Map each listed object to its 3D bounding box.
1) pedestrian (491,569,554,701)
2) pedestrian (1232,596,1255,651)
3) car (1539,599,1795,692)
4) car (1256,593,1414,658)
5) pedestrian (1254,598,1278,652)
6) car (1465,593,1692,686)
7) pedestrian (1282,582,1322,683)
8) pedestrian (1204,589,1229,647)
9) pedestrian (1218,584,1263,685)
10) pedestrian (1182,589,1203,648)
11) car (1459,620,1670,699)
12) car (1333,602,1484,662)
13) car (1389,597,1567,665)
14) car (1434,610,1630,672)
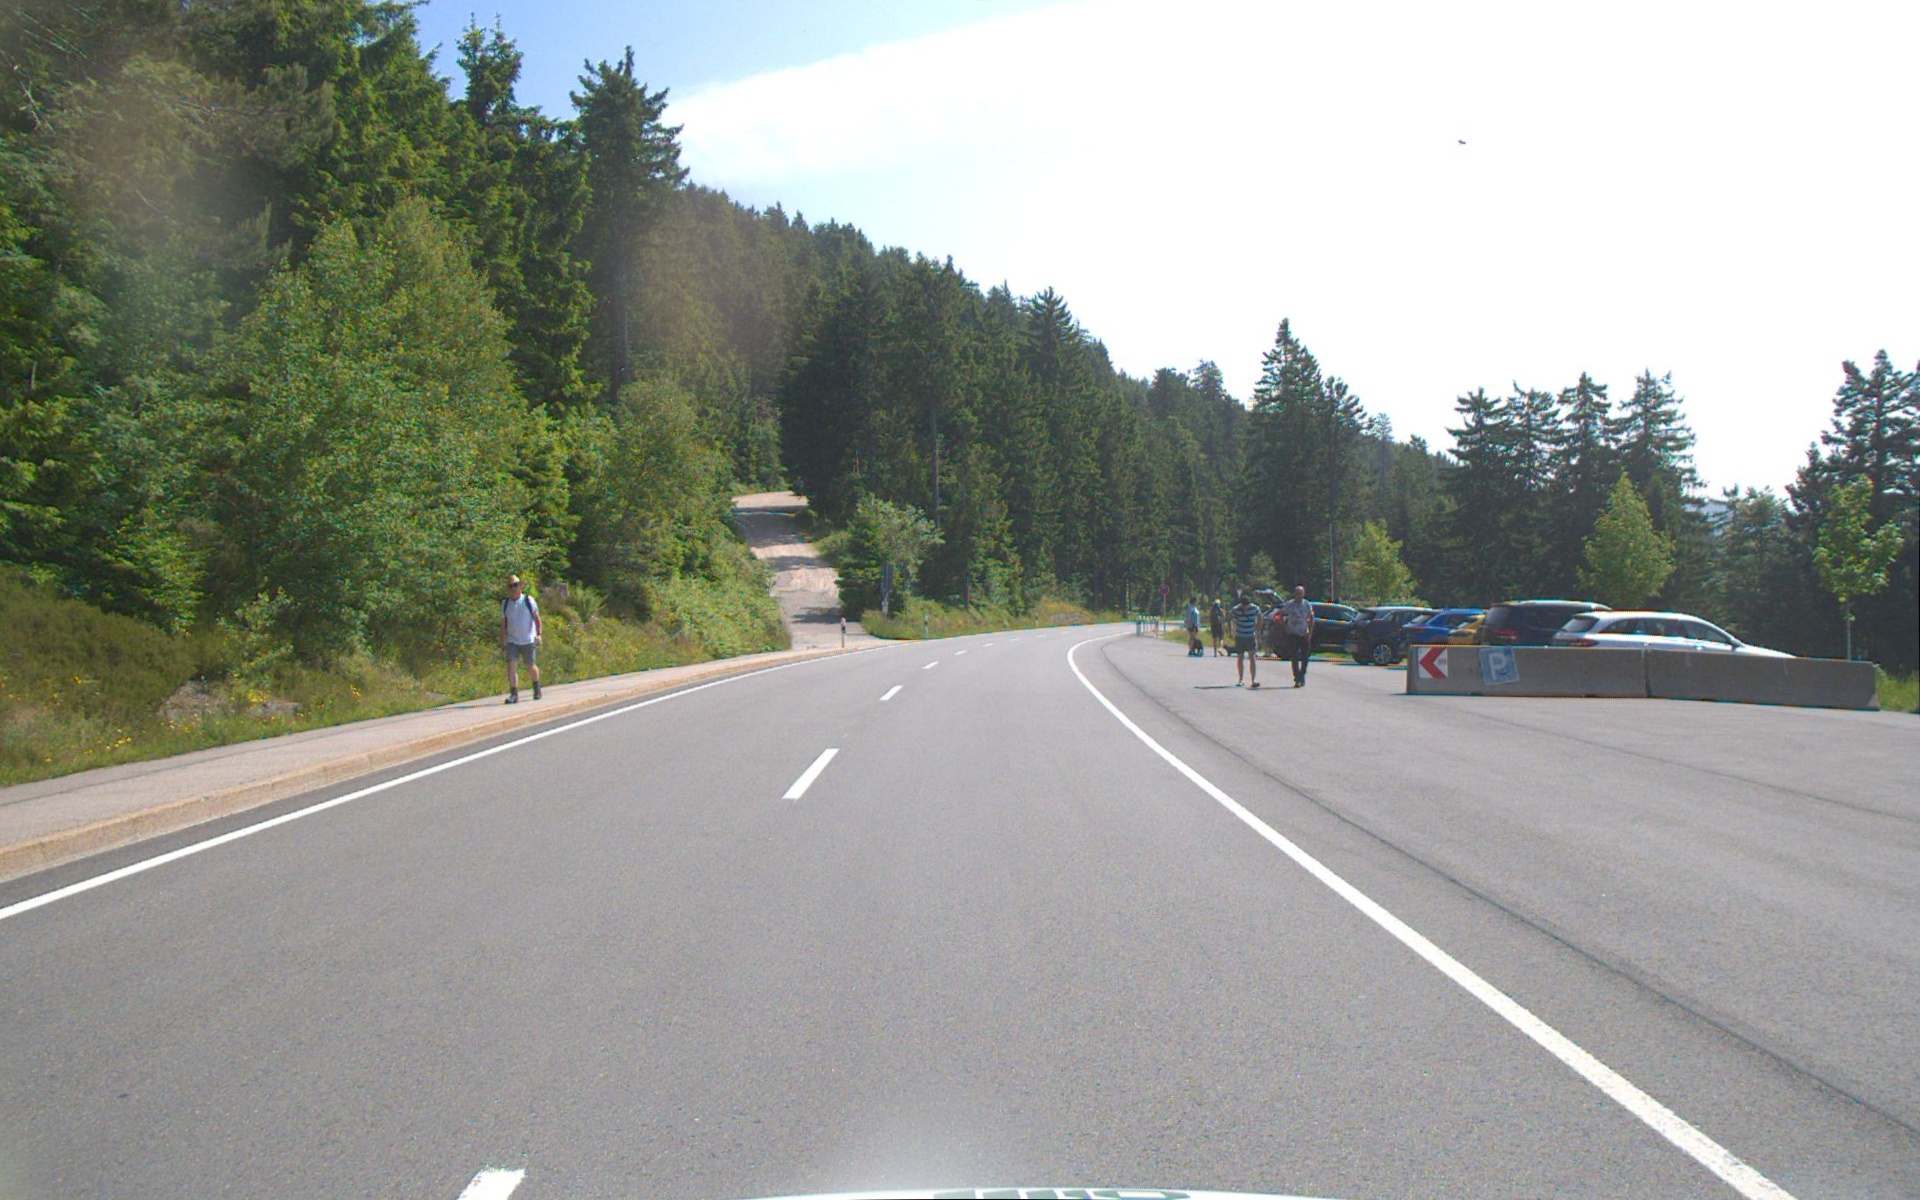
[{"bbox_3d":[-6.001,0.475,22.733,0.668,1.777,0.825,0,0,-3],"label":"pedestrian"},{"bbox_3d":[8.887,0.733,51.896,0.638,1.689,0.688,-1,1,13],"label":"pedestrian"},{"bbox_3d":[12.873,0.812,30.272,3.907,1.502,1.773,2,0,-2],"label":"car"},{"bbox_3d":[10.917,0.736,48.377,4.178,1.825,1.891,0,0,-2],"label":"car"},{"bbox_3d":[9.436,0.766,50.938,0.604,1.615,0.735,-1,1,20],"label":"pedestrian"},{"bbox_3d":[12.363,0.779,33.184,3.908,1.675,1.599,2,0,-3],"label":"car"},{"bbox_3d":[6.101,0.564,29.496,0.650,1.771,0.895,0,0,14],"label":"pedestrian"},{"bbox_3d":[7.701,0.548,49.650,0.700,1.722,0.619,0,0,7],"label":"pedestrian"},{"bbox_3d":[5.031,0.604,29.668,0.737,1.791,0.776,0,0,14],"label":"pedestrian"},{"bbox_3d":[7.142,0.560,50.800,0.604,1.806,0.724,0,0,8],"label":"pedestrian"},{"bbox_3d":[13.139,1.279,36.081,3.916,1.461,1.763,3,0,-1],"label":"car"},{"bbox_3d":[12.259,0.861,45.322,3.679,1.595,1.598,0,0,-6],"label":"car"},{"bbox_3d":[13.091,0.764,41.932,3.908,1.562,1.806,0,3,-3],"label":"car"},{"bbox_3d":[13.266,0.942,38.520,3.905,1.376,1.987,0,0,-1],"label":"car"}]
